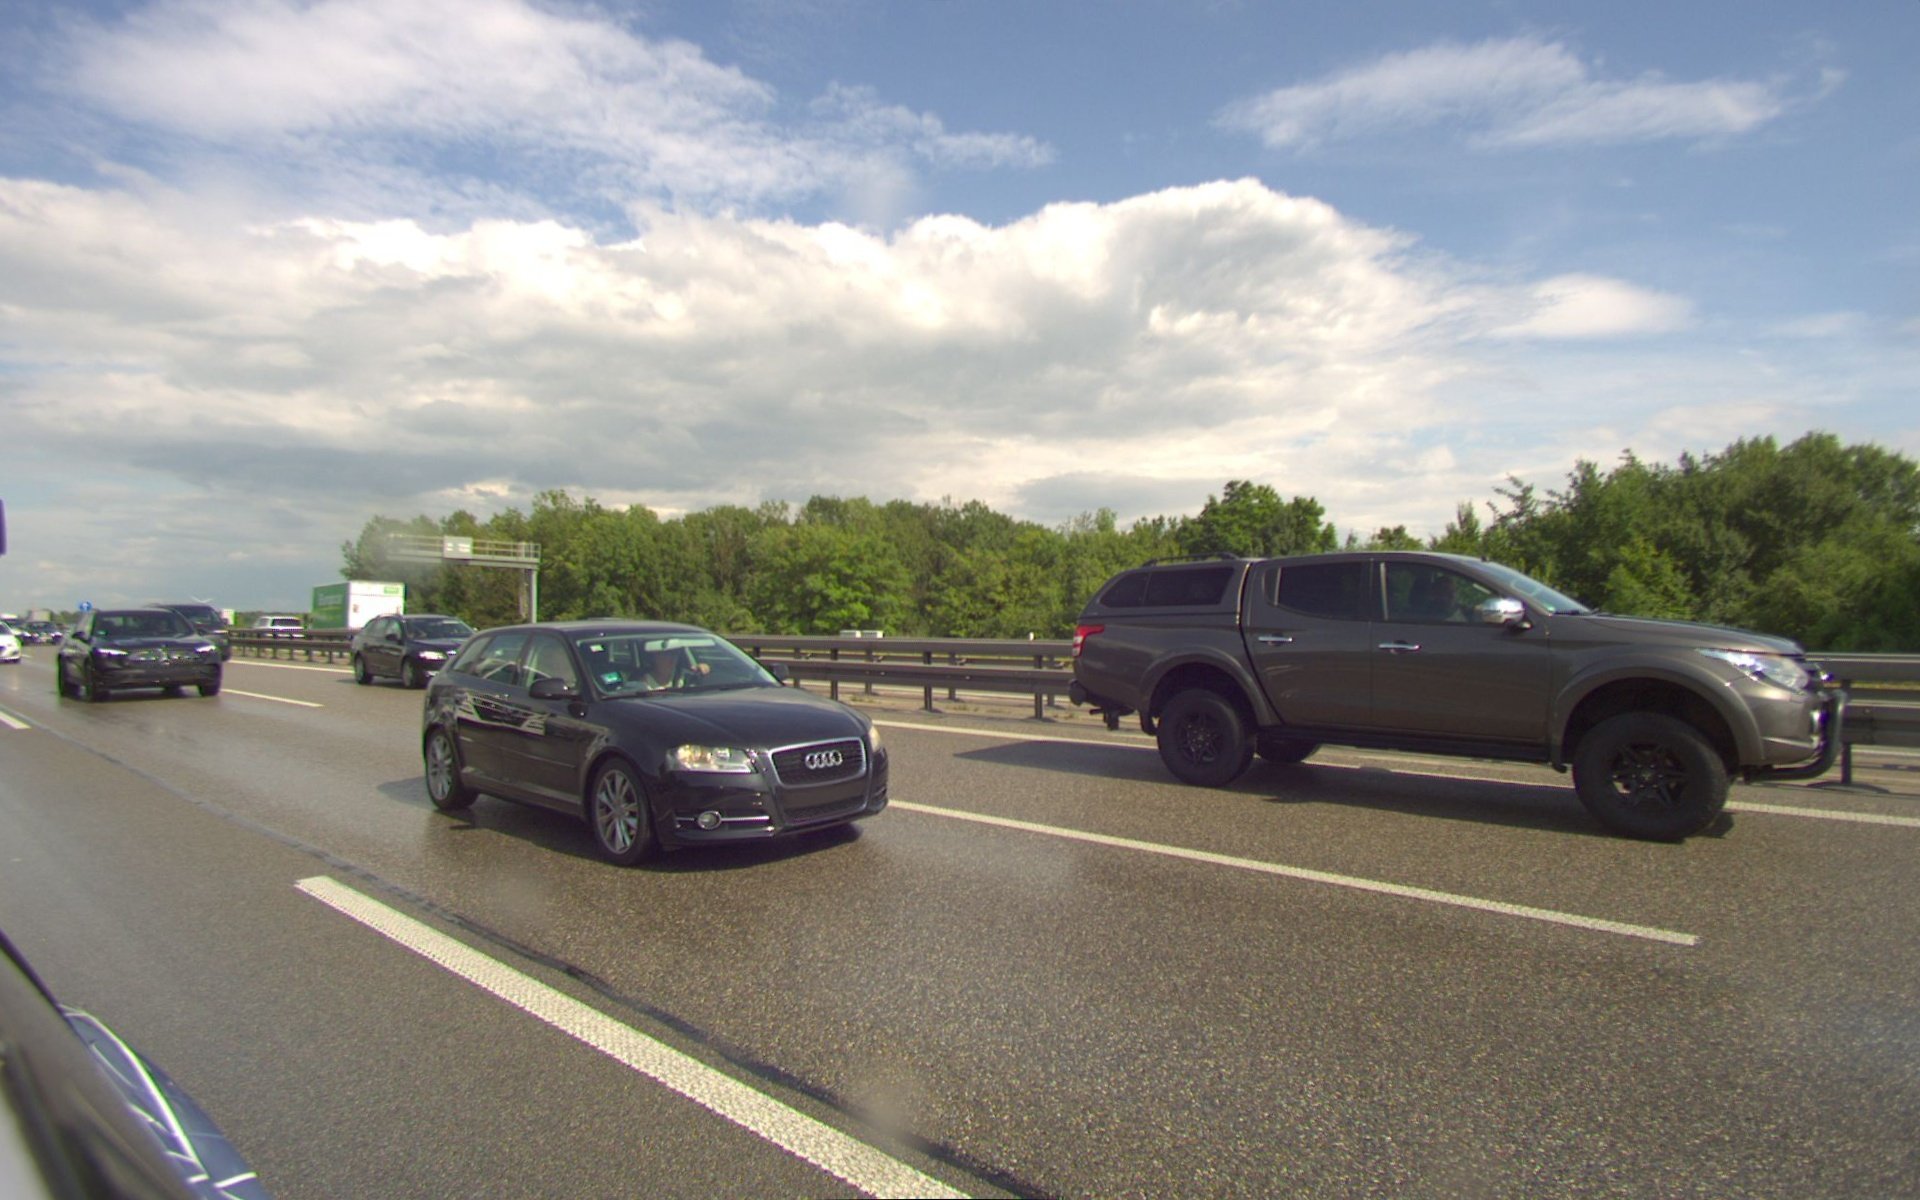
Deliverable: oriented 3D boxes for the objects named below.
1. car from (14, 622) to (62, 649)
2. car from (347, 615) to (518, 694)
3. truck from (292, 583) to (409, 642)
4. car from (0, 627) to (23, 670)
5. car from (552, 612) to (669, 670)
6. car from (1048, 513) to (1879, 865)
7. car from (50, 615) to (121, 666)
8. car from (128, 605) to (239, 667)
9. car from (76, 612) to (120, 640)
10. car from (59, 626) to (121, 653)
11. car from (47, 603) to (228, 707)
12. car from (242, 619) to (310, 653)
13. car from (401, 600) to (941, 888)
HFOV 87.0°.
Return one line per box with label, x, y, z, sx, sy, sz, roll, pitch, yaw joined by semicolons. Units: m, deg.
car;-52.561;2.013;57.702;3.998;1.431;1.597;-1;-1;41
car;-10.989;1.056;20.941;4.374;1.435;1.898;-1;-1;44
truck;-33.218;0.662;54.999;8.717;3.009;2.886;-1;0;41
car;-33.476;1.630;34.569;4.239;1.408;1.785;-1;-1;42
car;-10.165;1.153;29.373;3.314;1.586;1.800;-1;-1;41
car;3.393;0.514;7.823;5.416;1.858;1.787;-1;-1;42
car;-28.980;1.314;33.521;2.829;1.609;1.391;-1;-1;41
car;-26.462;1.185;34.408;5.233;1.932;1.973;-1;-1;41
car;-75.700;2.266;88.829;6.099;2.414;2.092;-1;-1;41
car;-40.978;1.822;47.630;3.583;1.198;1.832;-1;-1;43
car;-15.330;0.936;18.766;4.624;1.692;1.857;-1;-1;41
car;-35.337;1.836;52.222;4.242;1.655;1.748;-1;-1;39
car;-2.211;0.756;7.085;4.052;1.444;1.732;-1;-1;42
